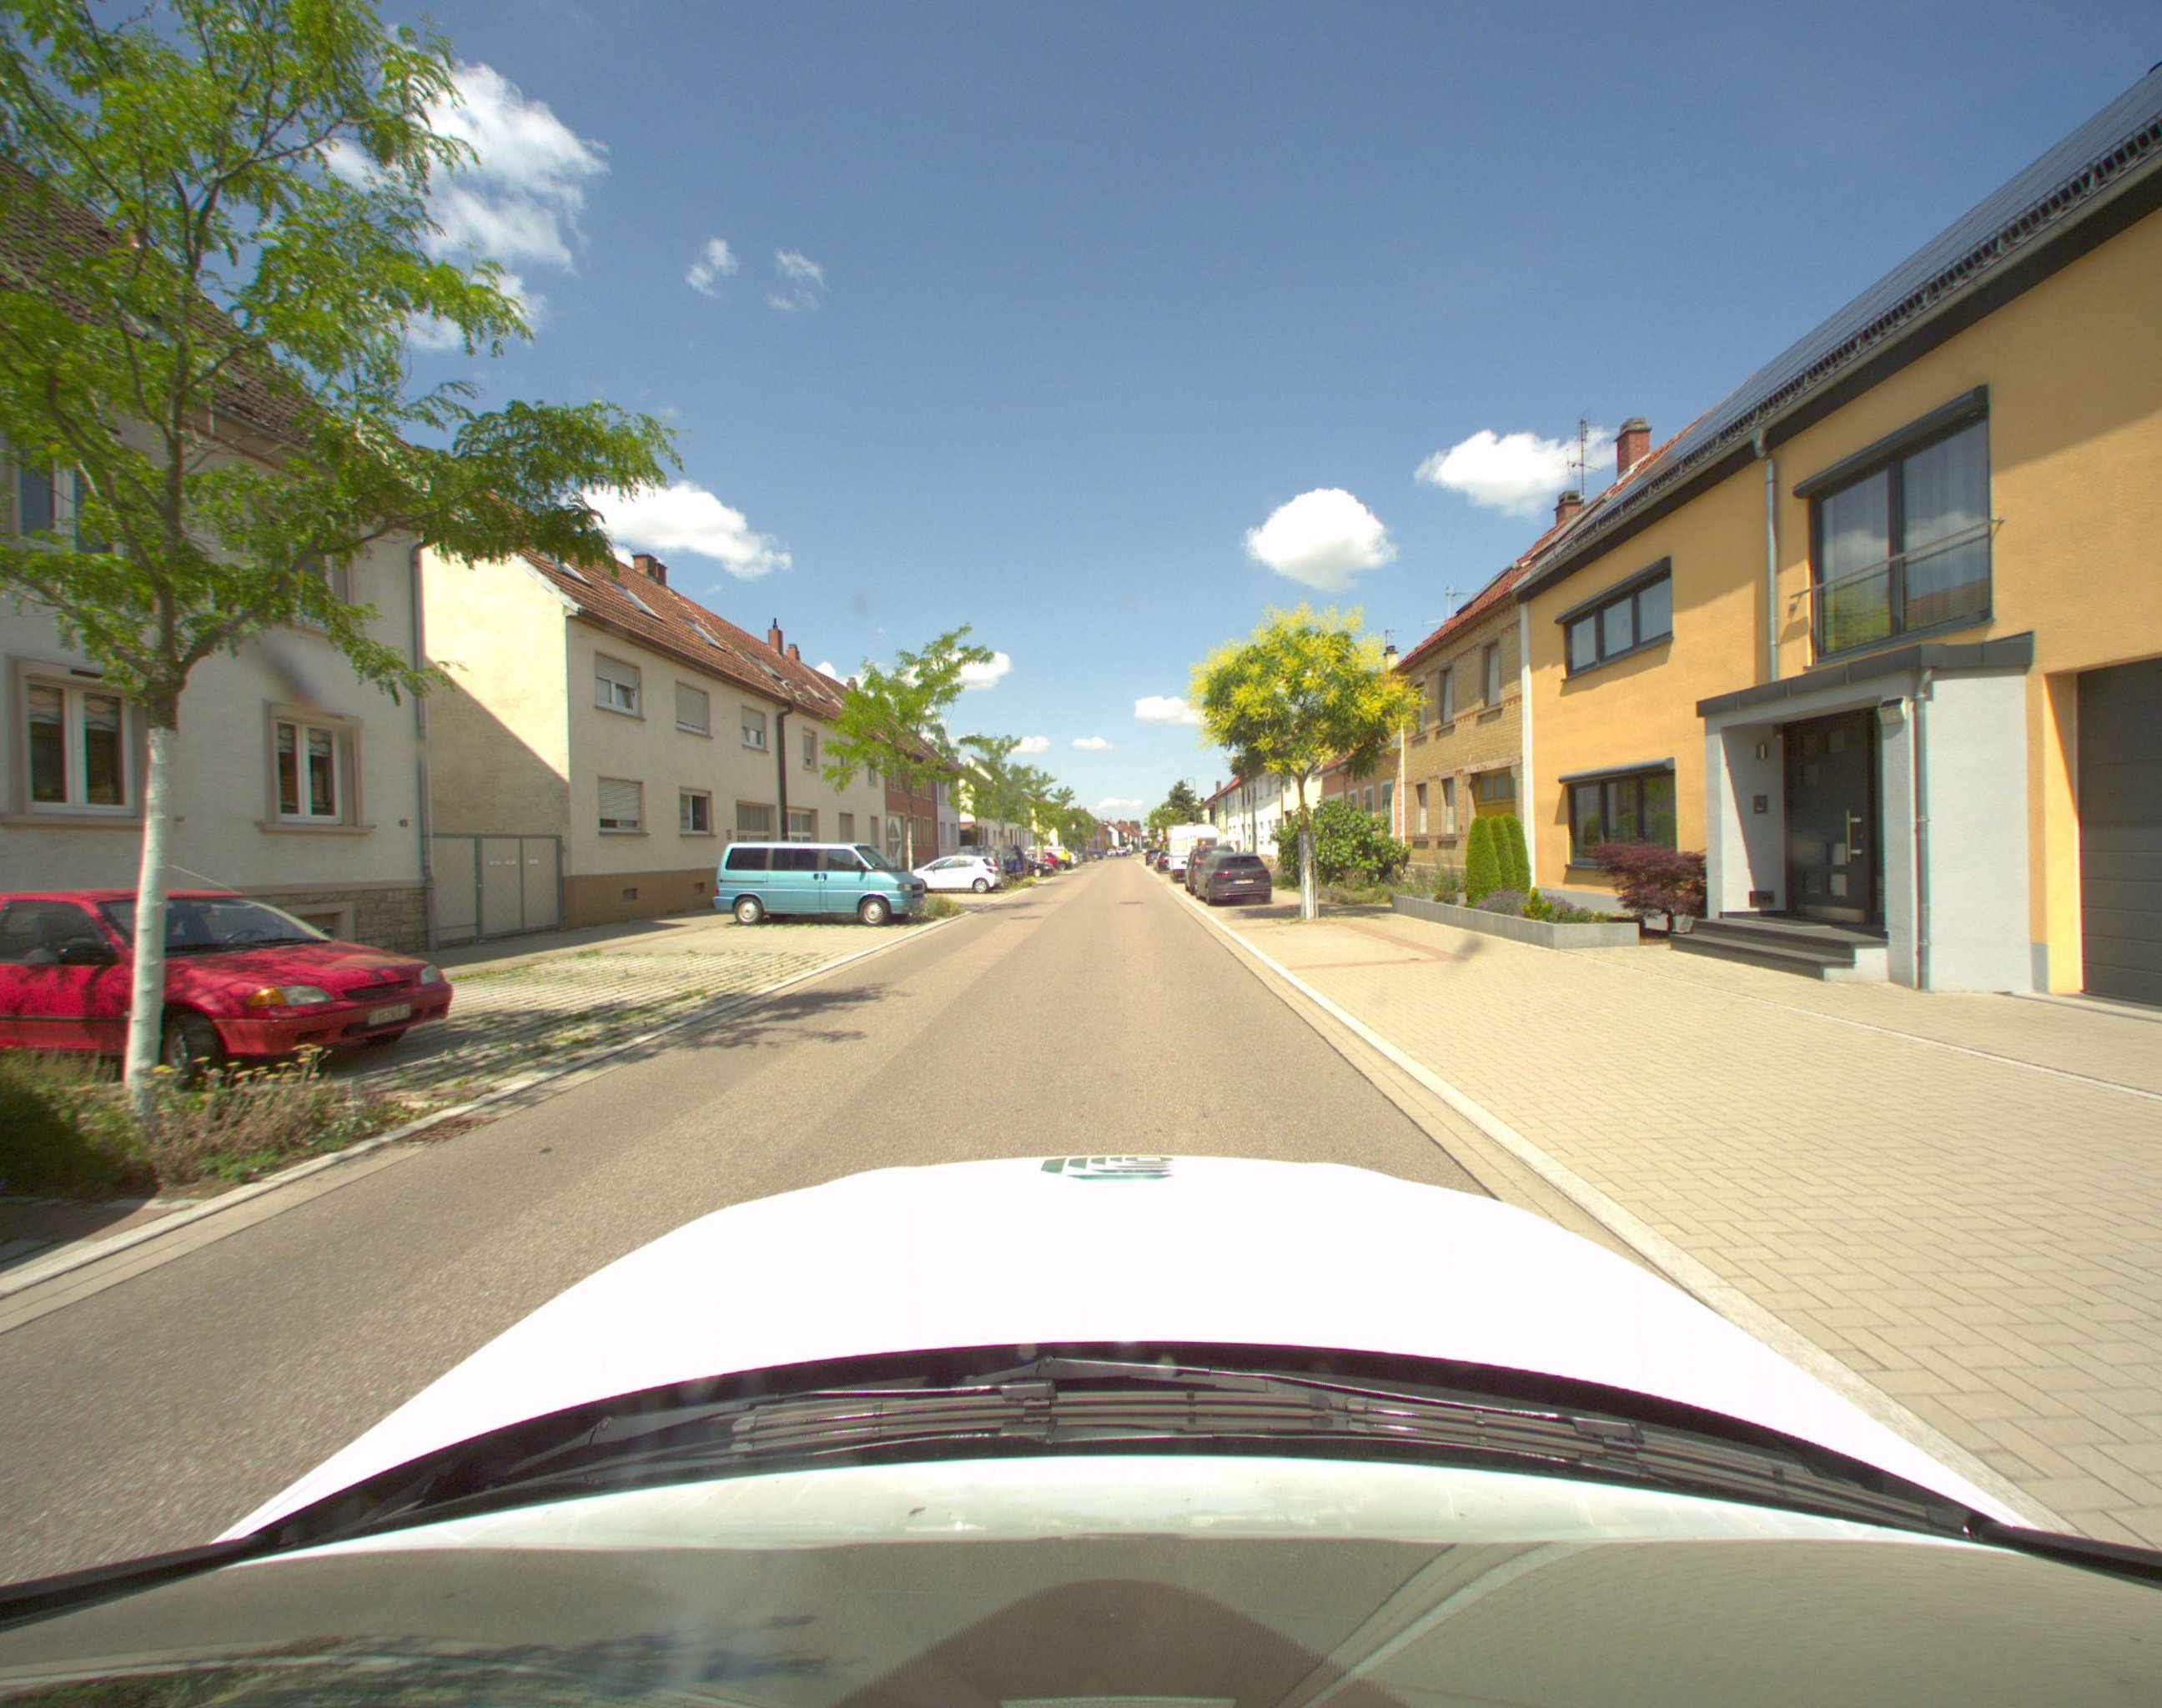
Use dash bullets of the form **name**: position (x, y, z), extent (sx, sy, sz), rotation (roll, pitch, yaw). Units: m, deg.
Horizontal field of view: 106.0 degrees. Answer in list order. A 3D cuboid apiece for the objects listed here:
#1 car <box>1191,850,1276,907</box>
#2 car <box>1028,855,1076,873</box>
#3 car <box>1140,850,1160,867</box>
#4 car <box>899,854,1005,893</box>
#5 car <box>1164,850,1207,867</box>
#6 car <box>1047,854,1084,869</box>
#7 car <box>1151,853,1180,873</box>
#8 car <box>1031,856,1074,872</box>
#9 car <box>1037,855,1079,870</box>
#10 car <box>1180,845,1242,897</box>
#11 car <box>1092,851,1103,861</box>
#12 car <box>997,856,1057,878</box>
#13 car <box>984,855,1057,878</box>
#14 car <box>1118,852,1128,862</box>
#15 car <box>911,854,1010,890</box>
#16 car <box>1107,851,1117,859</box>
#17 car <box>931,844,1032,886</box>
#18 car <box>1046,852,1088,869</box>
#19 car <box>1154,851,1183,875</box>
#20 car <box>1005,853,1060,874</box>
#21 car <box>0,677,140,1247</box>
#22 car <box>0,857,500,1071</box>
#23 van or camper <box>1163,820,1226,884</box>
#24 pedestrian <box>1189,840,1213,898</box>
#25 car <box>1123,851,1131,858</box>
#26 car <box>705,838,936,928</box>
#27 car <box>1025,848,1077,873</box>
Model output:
- **car**: position (4.282, 0.655, 23.488), extent (1.760, 1.488, 4.297), rotation (0, 0, 1)
- **car**: position (-2.502, 0.871, 70.874), extent (3.993, 1.459, 1.757), rotation (1, 0, 3)
- **car**: position (6.948, 0.427, 81.586), extent (1.855, 1.635, 4.453), rotation (-3, 0, 5)
- **car**: position (-5.175, 0.771, 32.977), extent (3.898, 1.488, 1.775), rotation (1, 0, 4)
- **car**: position (11.722, 0.496, 91.334), extent (4.601, 1.893, 2.021), rotation (1, -1, 1)
- **car**: position (-1.714, 0.876, 92.945), extent (4.170, 1.569, 1.773), rotation (1, -1, -1)
- **car**: position (6.338, 0.644, 61.689), extent (1.825, 1.465, 4.521), rotation (0, 0, 1)
- **car**: position (-2.731, 0.912, 78.069), extent (4.066, 1.468, 1.750), rotation (1, 0, -6)
- **car**: position (-2.446, 0.894, 86.085), extent (4.275, 1.468, 1.776), rotation (0, -1, 4)
- **car**: position (4.556, 0.576, 28.983), extent (1.759, 1.705, 4.329), rotation (0, 0, 3)
- **car**: position (2.872, 0.346, 140.633), extent (1.810, 1.433, 4.140), rotation (3, 1, 1)
- **car**: position (-3.728, 0.891, 56.513), extent (4.040, 1.478, 1.776), rotation (1, 0, 0)
- **car**: position (-3.873, 0.771, 52.525), extent (4.505, 1.425, 1.797), rotation (1, 0, 2)
- **car**: position (8.625, 0.622, 169.272), extent (2.015, 1.950, 4.901), rotation (-1, -1, 2)
- **car**: position (-5.200, 0.763, 35.447), extent (3.898, 1.488, 1.775), rotation (1, 0, 4)
- **car**: position (7.246, 0.230, 189.454), extent (1.840, 1.659, 4.006), rotation (2, 0, 6)
- **car**: position (-4.848, 0.537, 40.118), extent (4.591, 1.996, 1.955), rotation (1, 0, 4)
- **car**: position (-1.625, 0.754, 95.695), extent (4.681, 1.923, 1.939), rotation (1, -1, 2)
- **car**: position (5.773, 0.562, 54.272), extent (1.759, 1.529, 4.011), rotation (0, 0, 3)
- **car**: position (-3.858, 0.781, 65.656), extent (4.236, 1.611, 1.844), rotation (1, 0, 2)
- **car**: position (-6.926, 0.390, 2.653), extent (5.148, 2.288, 2.157), rotation (1, 0, 0)
- **car**: position (-7.117, 0.750, 6.454), extent (3.767, 1.385, 1.727), rotation (1, -1, 3)
- **van or camper**: position (5.376, -0.109, 39.530), extent (2.463, 2.810, 5.794), rotation (-2, 0, 3)
- **pedestrian**: position (3.895, 0.487, 26.386), extent (0.713, 1.853, 0.578), rotation (0, -1, 3)
- **car**: position (11.116, 0.112, 195.563), extent (1.756, 1.523, 4.051), rotation (-2, 0, 2)
- **car**: position (-5.945, 0.649, 19.012), extent (4.657, 1.907, 2.002), rotation (1, -1, 3)
- **car**: position (-2.652, 0.543, 73.556), extent (4.490, 2.177, 1.926), rotation (1, 0, 3)
